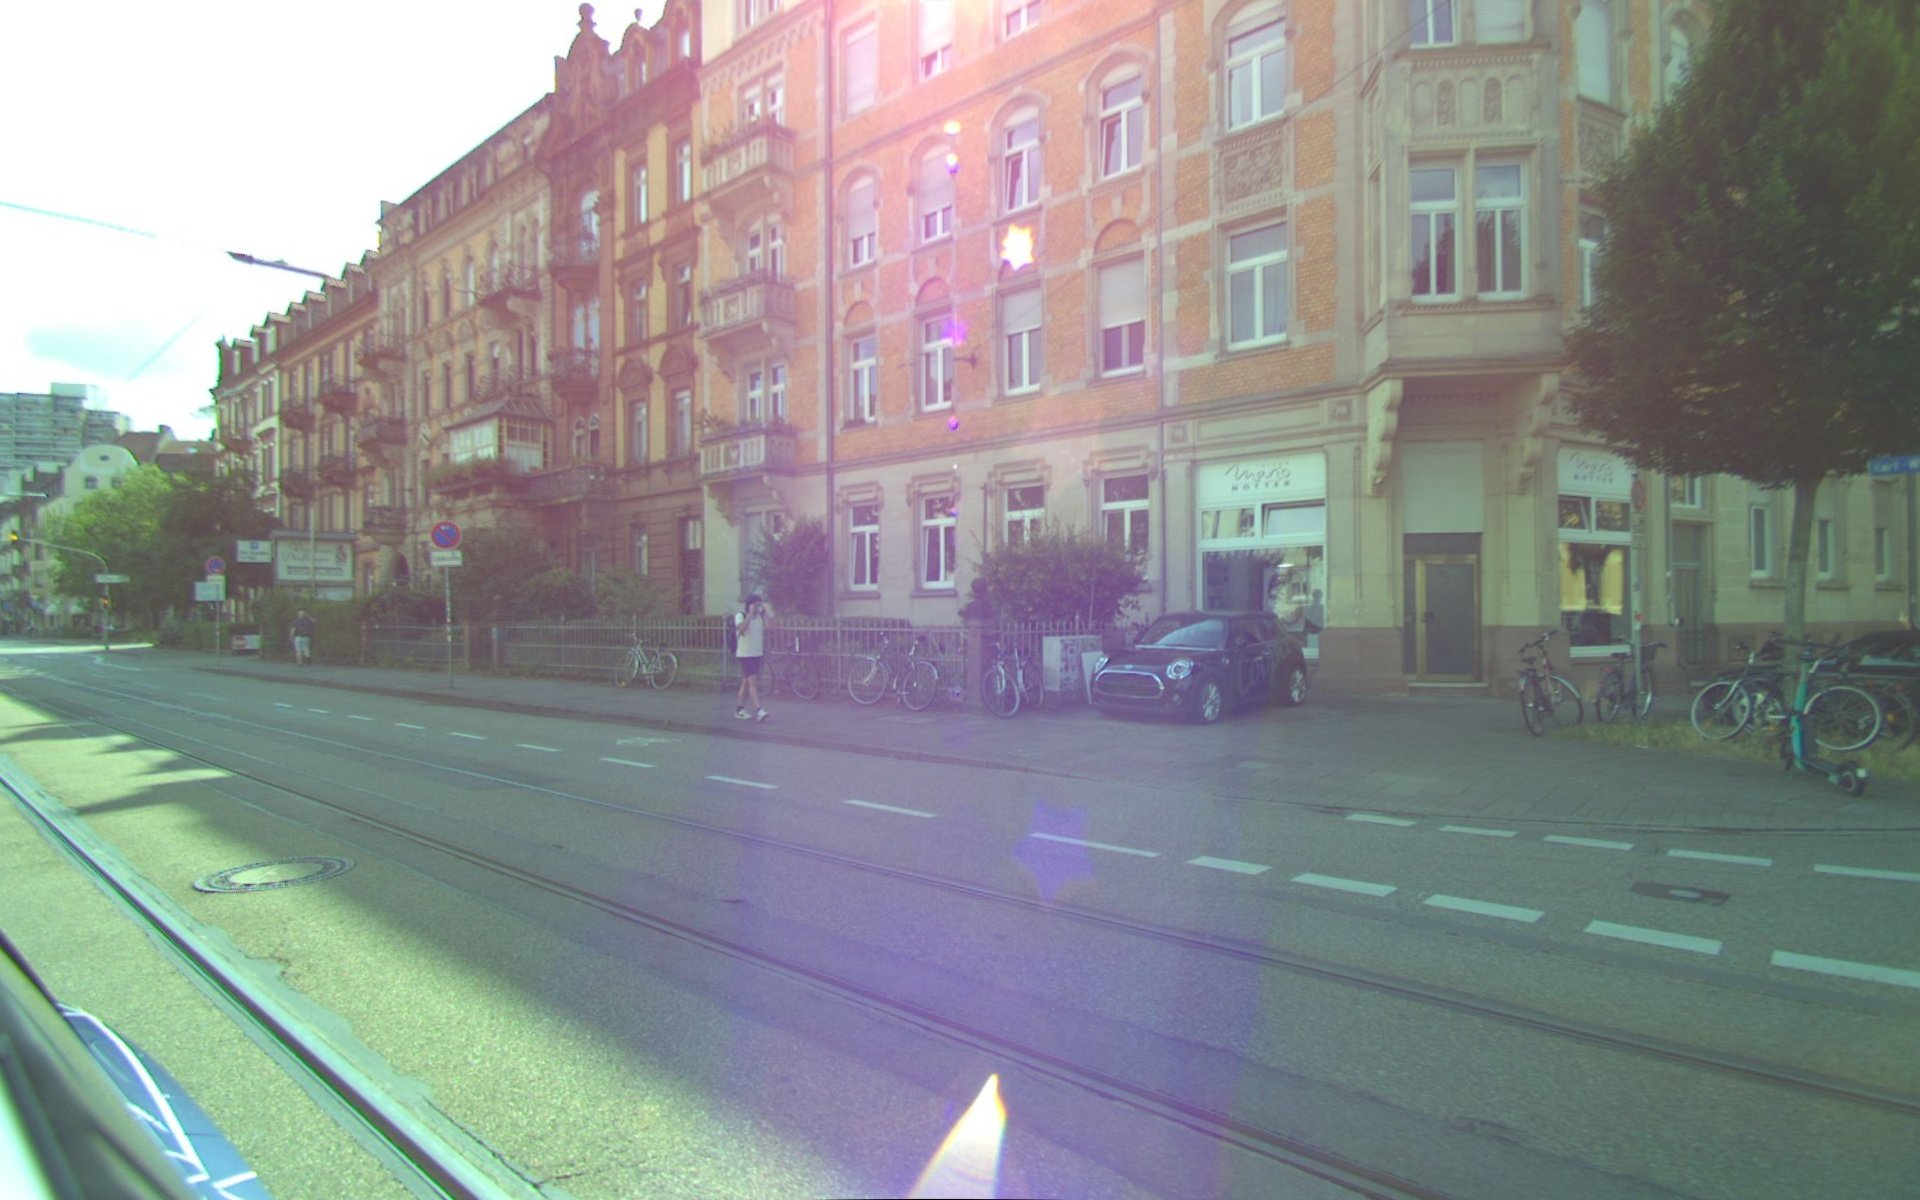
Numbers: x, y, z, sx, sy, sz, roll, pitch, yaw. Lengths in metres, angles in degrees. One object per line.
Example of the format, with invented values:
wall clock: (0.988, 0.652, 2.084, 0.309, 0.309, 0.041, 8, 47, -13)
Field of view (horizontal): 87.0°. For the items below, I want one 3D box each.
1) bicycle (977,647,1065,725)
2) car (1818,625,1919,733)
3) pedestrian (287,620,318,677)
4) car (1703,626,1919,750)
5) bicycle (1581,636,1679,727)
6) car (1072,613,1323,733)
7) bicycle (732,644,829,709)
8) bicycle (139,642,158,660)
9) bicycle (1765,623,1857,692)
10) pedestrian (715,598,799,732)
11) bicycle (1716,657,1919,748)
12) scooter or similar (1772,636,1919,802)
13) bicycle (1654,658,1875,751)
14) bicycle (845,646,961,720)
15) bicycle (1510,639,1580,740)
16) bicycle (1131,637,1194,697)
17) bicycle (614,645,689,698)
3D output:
bicycle: (0.854, 1.153, 13.844, 0.404, 0.984, 1.437, -2, -2, 41)
car: (13.851, 1.034, 13.120, 1.616, 1.426, 3.800, 0, -2, -26)
pedestrian: (-20.142, 1.473, 30.984, 1.150, 1.716, 0.483, -2, -1, 39)
car: (11.369, 0.997, 11.871, 1.616, 1.371, 3.938, 0, -2, -30)
bicycle: (8.611, 1.010, 12.987, 1.671, 1.072, 0.525, 0, -2, -38)
car: (3.397, 0.922, 14.158, 3.562, 1.413, 1.788, 0, -1, -45)
bicycle: (-2.949, 1.221, 16.498, 1.948, 0.984, 0.417, -1, -2, 41)
bicycle: (-43.221, 2.703, 53.883, 1.826, 0.939, 0.553, -2, -2, 44)
bicycle: (15.905, 1.043, 18.907, 2.144, 1.218, 0.626, 0, -2, -31)
pedestrian: (-2.826, 0.871, 14.057, 1.105, 1.773, 0.527, -2, 1, 41)
bicycle: (9.046, 1.039, 10.610, 0.516, 0.844, 1.702, 0, -2, -36)
scooter or similar: (7.508, 0.951, 8.570, 0.400, 1.244, 1.360, -1, 0, 13)
bicycle: (8.322, 1.051, 10.541, 0.516, 0.844, 1.702, 0, -2, -36)
bicycle: (-0.852, 1.185, 14.745, 1.948, 0.984, 0.417, -1, -2, 41)
bicycle: (6.966, 1.022, 12.024, 0.523, 1.072, 1.738, -2, -2, 36)
bicycle: (3.551, 1.143, 17.662, 0.404, 0.984, 1.437, -2, -2, 41)
bicycle: (-5.952, 1.352, 19.465, 1.948, 0.940, 0.417, -1, -2, 41)
